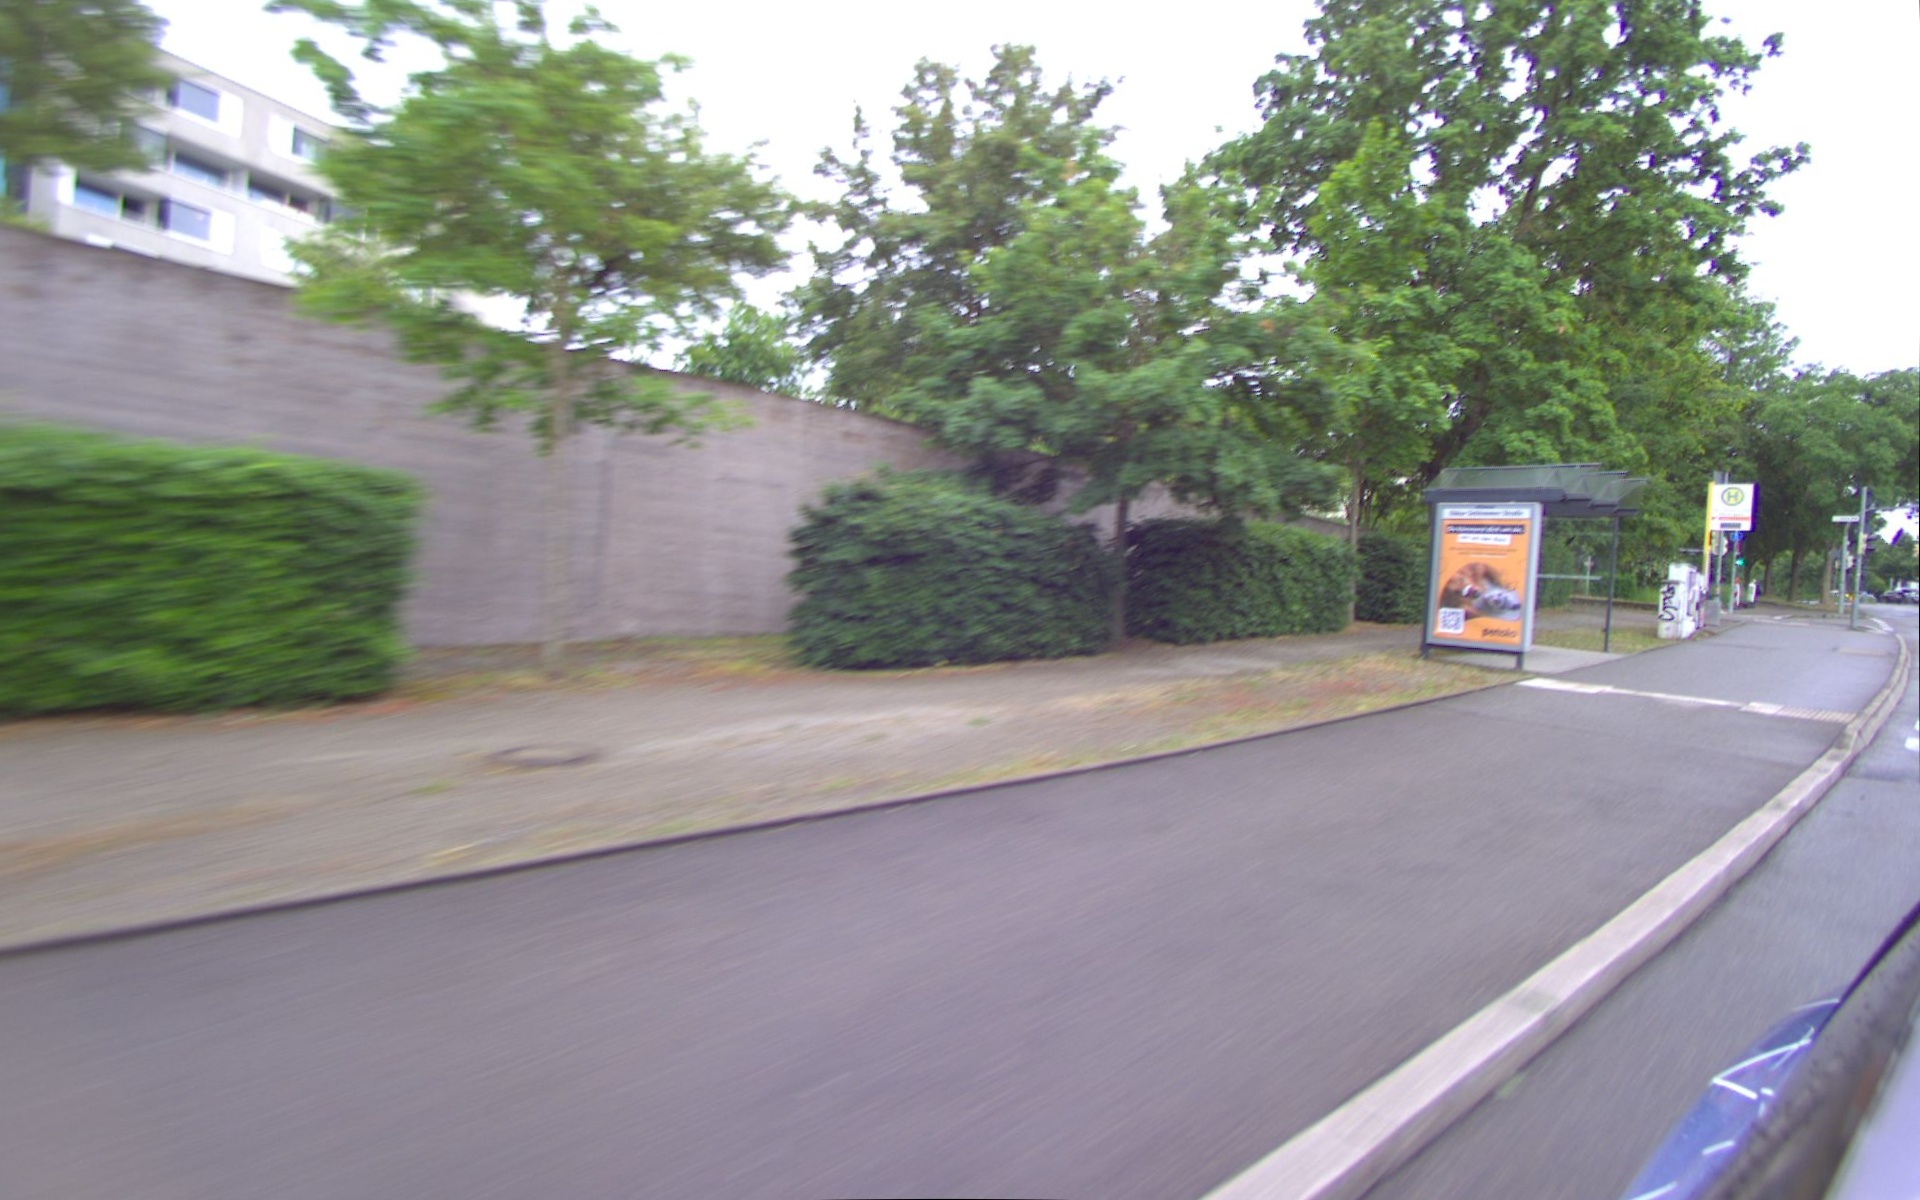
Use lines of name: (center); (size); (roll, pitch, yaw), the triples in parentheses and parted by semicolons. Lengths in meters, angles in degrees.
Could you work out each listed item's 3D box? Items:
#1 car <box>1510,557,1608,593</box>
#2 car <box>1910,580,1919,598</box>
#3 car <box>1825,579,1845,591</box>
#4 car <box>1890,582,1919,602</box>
car: (28.955, -1.235, 49.043); (3.867, 1.566, 1.865); (3, 3, 27)
car: (110.940, -1.239, 116.237); (1.913, 2.039, 4.332); (2, 0, 34)
car: (140.962, -2.386, 163.072); (1.989, 1.771, 3.947); (3, 2, 37)
car: (102.589, -0.853, 109.628); (1.986, 2.038, 3.953); (4, 3, 33)
